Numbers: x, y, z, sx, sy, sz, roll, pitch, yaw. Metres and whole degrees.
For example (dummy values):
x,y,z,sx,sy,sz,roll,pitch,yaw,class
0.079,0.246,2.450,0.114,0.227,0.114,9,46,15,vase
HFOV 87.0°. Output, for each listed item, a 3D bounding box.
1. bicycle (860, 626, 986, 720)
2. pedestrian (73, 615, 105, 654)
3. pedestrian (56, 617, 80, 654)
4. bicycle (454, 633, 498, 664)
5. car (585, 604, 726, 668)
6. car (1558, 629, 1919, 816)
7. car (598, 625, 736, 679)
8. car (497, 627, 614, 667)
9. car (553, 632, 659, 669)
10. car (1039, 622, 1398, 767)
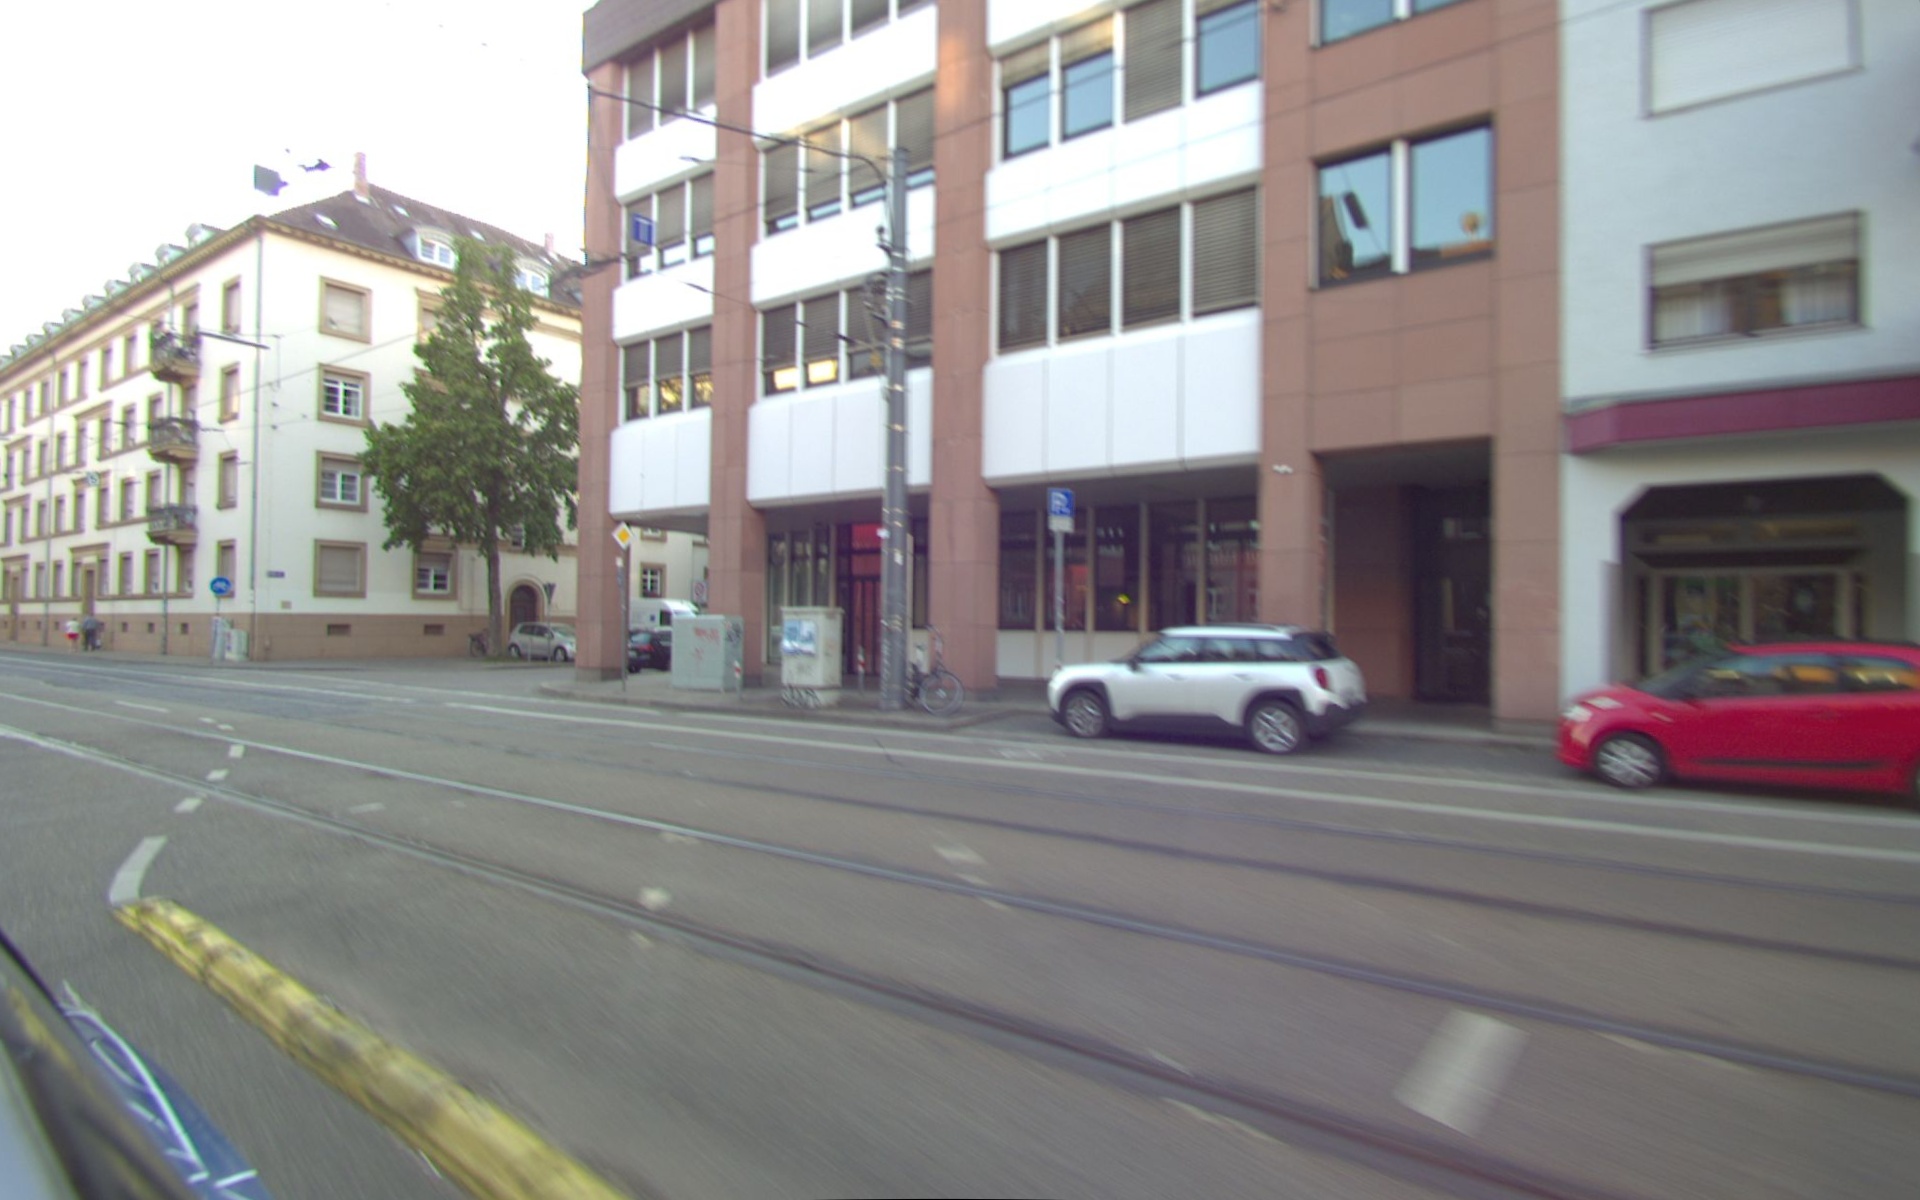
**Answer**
x,y,z,sx,sy,sz,roll,pitch,yaw,class
-0.617,1.119,16.054,2.259,1.388,0.602,-2,-3,44,bicycle
-38.459,1.513,44.684,0.979,1.714,0.789,-1,-2,34,pedestrian
-38.924,1.544,44.152,0.809,1.622,0.585,-1,-2,34,pedestrian
-19.487,1.937,40.802,0.599,1.222,1.673,0,-2,18,bicycle
-13.102,1.514,43.421,6.102,2.609,2.077,-1,-2,28,car
7.779,1.054,9.586,3.474,1.490,1.596,-1,0,38,car
-9.111,1.606,31.791,1.915,1.516,3.961,1,-2,29,car
-15.492,1.780,38.755,4.160,1.433,1.981,-1,-2,28,car
-14.495,2.033,41.401,4.160,1.433,1.778,-1,-2,28,car
3.246,1.084,13.117,4.196,1.567,1.701,-1,-1,37,car
